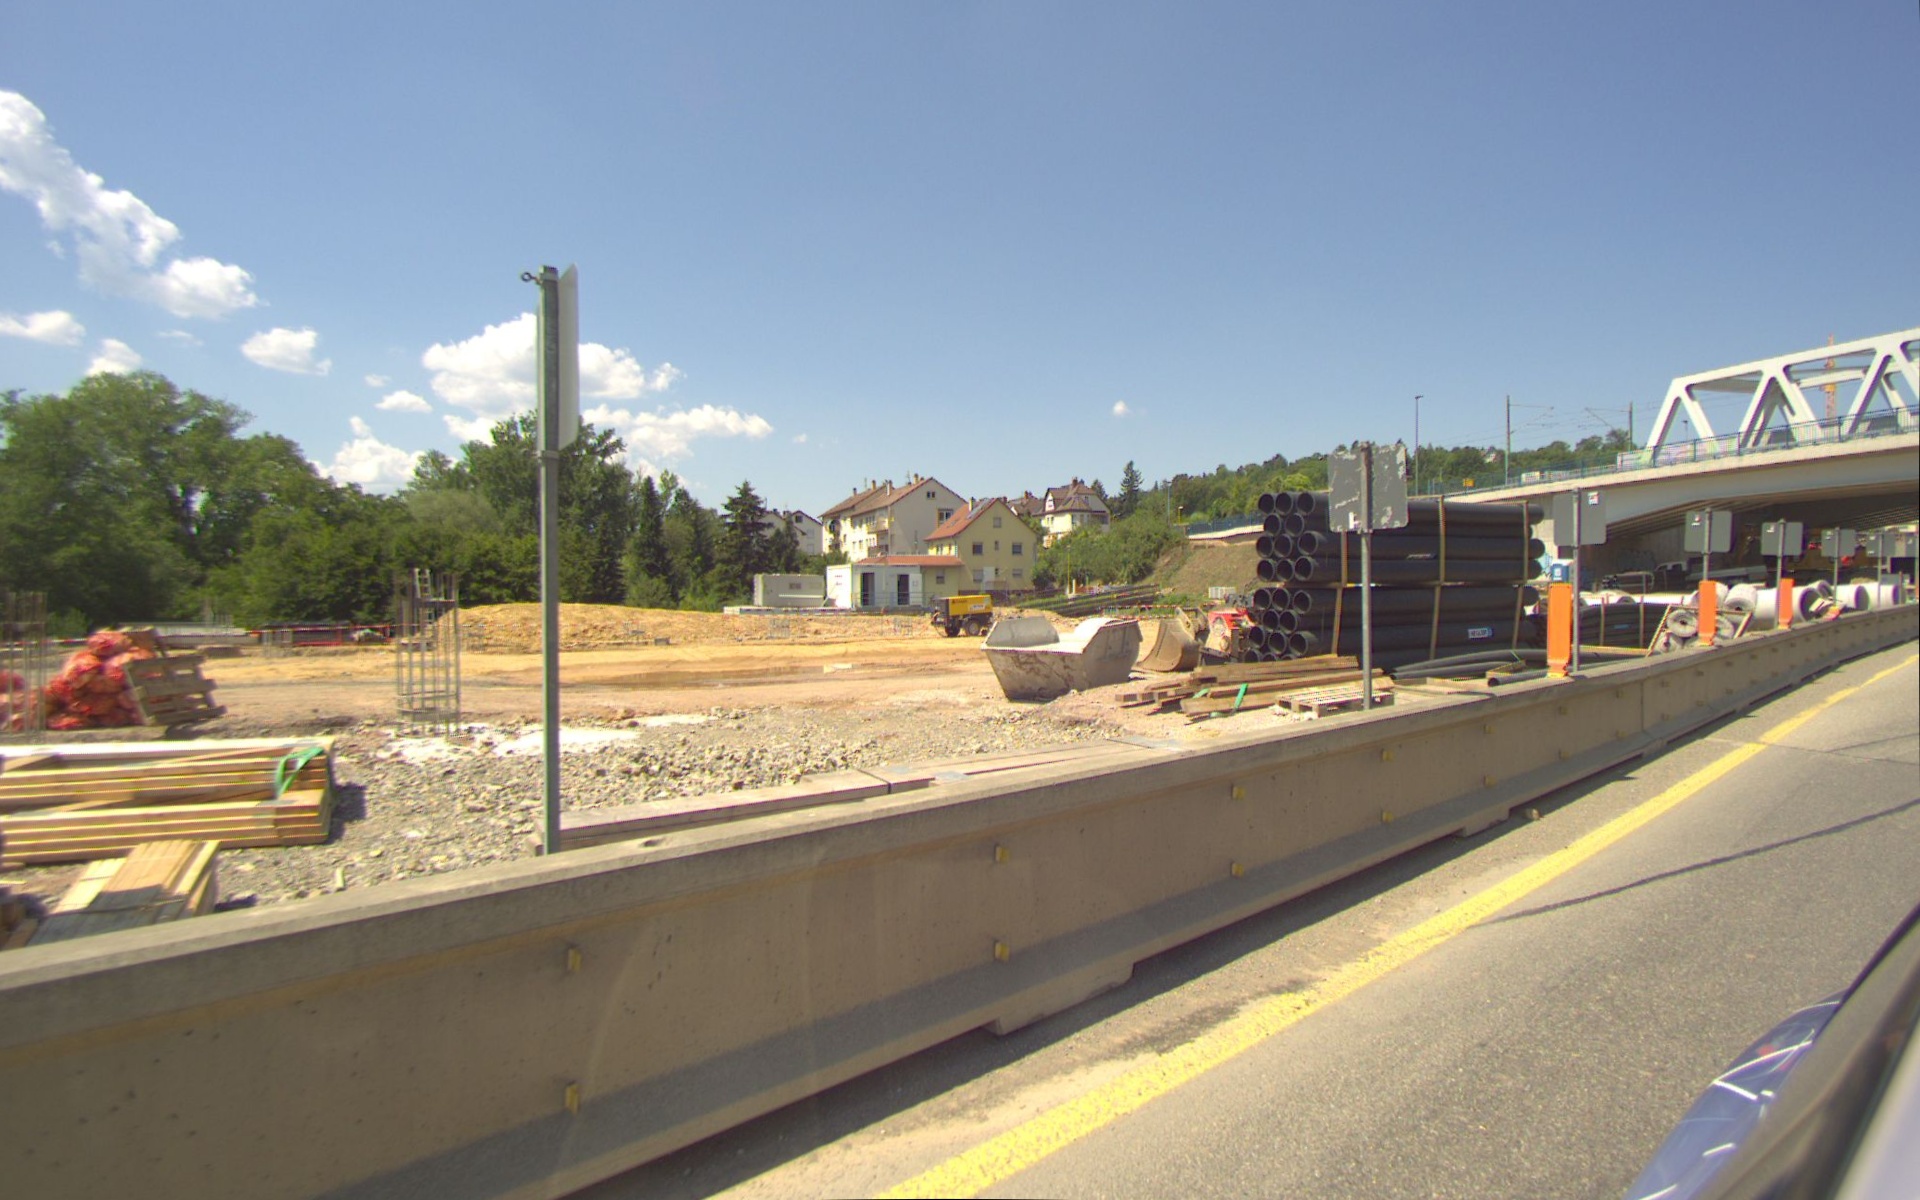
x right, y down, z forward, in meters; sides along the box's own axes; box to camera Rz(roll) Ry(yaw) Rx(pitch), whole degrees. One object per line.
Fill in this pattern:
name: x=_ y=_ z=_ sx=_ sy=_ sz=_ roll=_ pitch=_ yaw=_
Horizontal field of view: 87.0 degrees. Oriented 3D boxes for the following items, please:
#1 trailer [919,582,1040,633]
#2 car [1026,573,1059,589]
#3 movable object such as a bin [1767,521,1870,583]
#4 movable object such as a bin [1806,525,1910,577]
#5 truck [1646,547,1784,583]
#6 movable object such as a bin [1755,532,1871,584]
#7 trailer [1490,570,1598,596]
trailer: x=0.683 y=0.216 z=33.933 sx=3.752 sy=1.504 sz=1.630 roll=-3 pitch=1 yaw=-32
car: x=8.900 y=-2.078 z=109.526 sx=1.546 sy=1.526 sz=4.175 roll=-4 pitch=4 yaw=-25
movable object such as a bin: x=53.711 y=-2.965 z=63.415 sx=2.843 sy=3.585 sz=3.902 roll=-4 pitch=2 yaw=-17
movable object such as a bin: x=62.522 y=-3.371 z=70.535 sx=2.930 sy=3.327 sz=4.576 roll=-4 pitch=2 yaw=-24
truck: x=47.722 y=-2.173 z=64.217 sx=2.611 sy=2.099 sz=6.554 roll=-3 pitch=2 yaw=-25
movable object such as a bin: x=56.362 y=-2.740 z=67.003 sx=2.446 sy=3.093 sz=5.266 roll=-4 pitch=2 yaw=-24
trailer: x=31.693 y=-0.973 z=55.048 sx=2.015 sy=1.234 sz=4.736 roll=-5 pitch=4 yaw=-28
